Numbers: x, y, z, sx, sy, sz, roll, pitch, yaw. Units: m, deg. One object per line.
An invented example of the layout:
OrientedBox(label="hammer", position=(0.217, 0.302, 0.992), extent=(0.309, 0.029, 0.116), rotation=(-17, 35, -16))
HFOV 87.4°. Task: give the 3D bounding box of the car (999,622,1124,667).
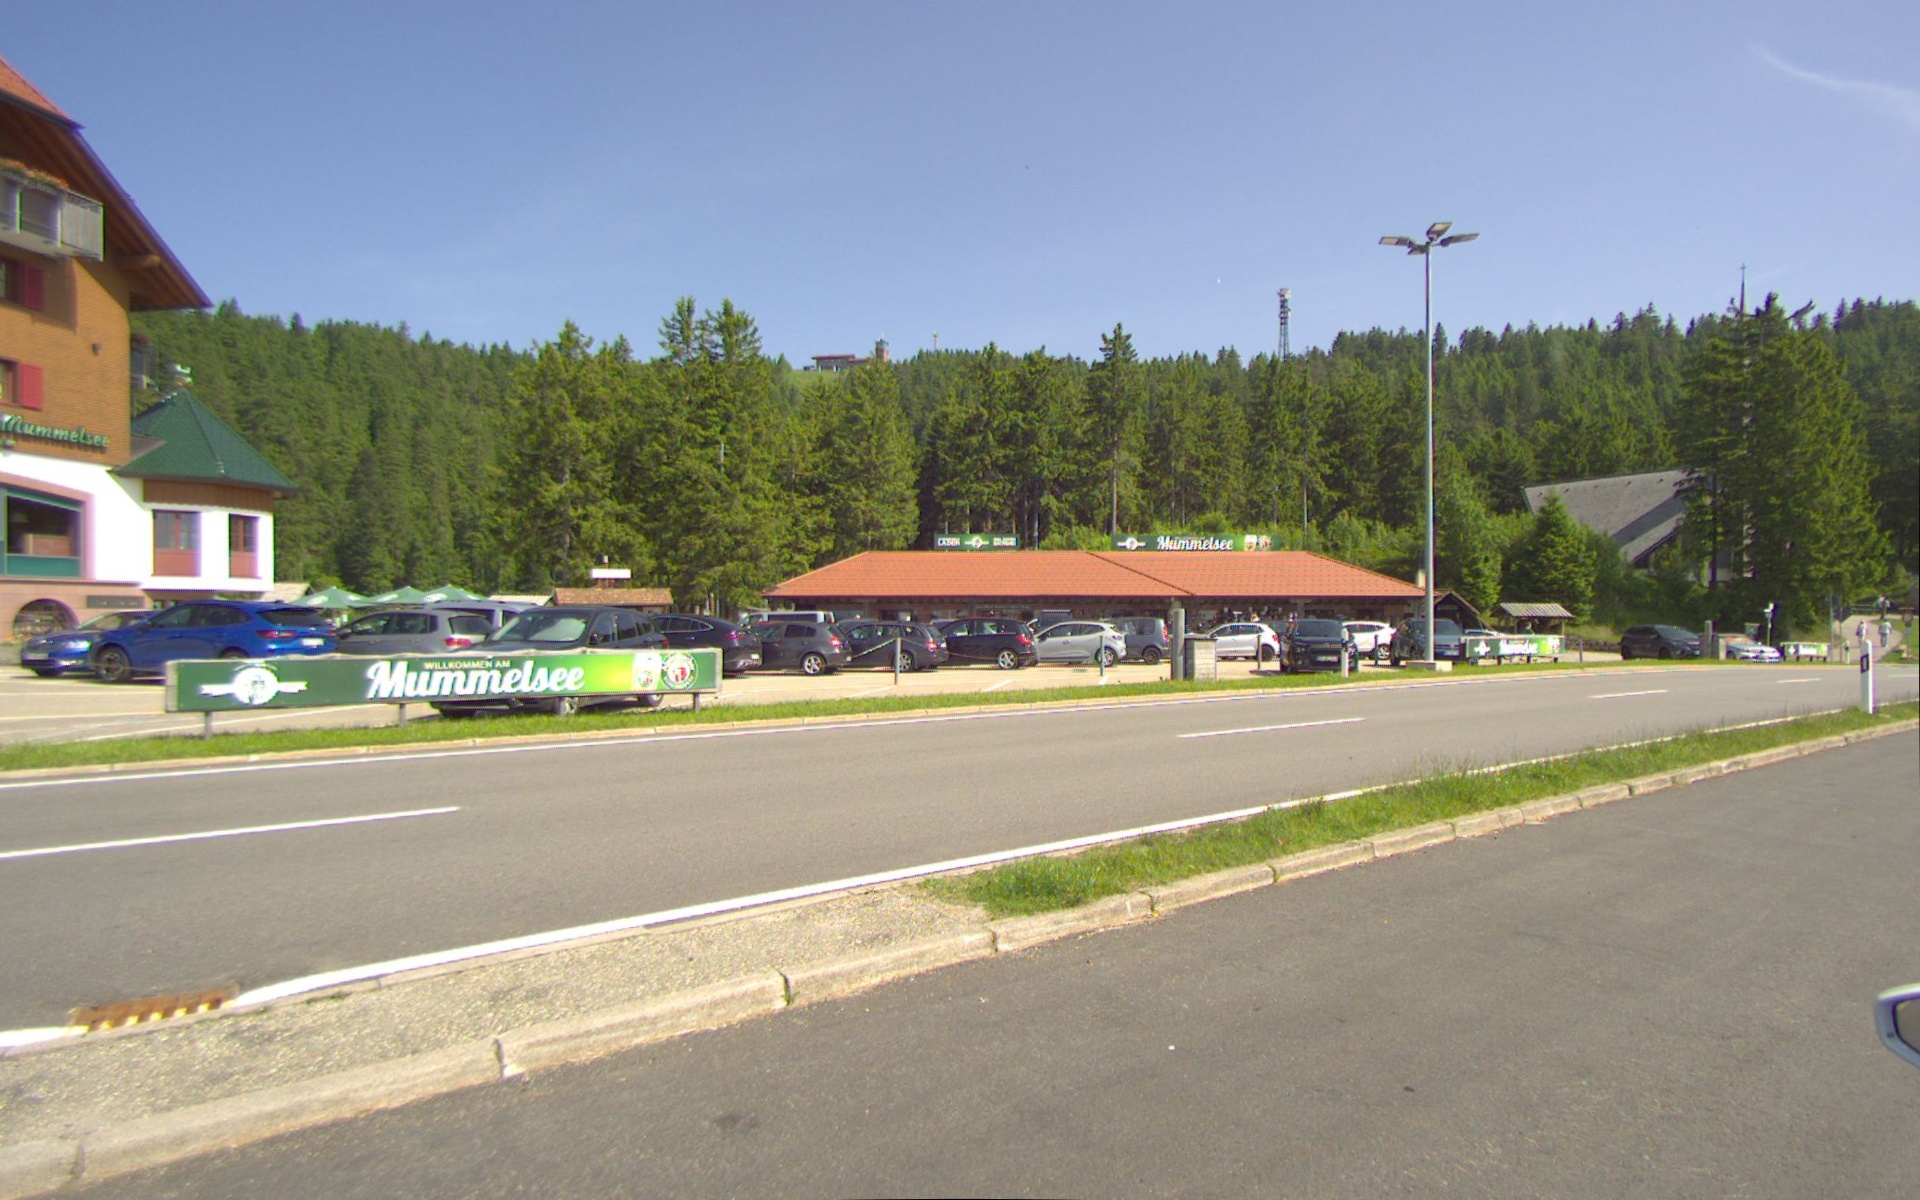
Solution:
OrientedBox(label="car", position=(3.325, 1.439, 32.644), extent=(3.919, 1.389, 1.813), rotation=(-1, -1, 9))

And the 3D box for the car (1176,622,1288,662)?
OrientedBox(label="car", position=(10.295, 1.584, 38.253), extent=(3.919, 1.439, 1.909), rotation=(-1, -1, 9))

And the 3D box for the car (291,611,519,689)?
OrientedBox(label="car", position=(-11.877, 1.046, 21.621), extent=(3.919, 1.566, 2.001), rotation=(-1, -1, 11))

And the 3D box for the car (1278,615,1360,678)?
OrientedBox(label="car", position=(9.610, 1.197, 27.149), extent=(1.747, 1.572, 4.002), rotation=(0, -1, 15))

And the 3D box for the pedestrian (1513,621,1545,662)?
OrientedBox(label="pedestrian", position=(25.421, 1.843, 44.877), extent=(0.951, 1.757, 0.890), rotation=(0, -1, -36))

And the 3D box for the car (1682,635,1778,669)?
OrientedBox(label="car", position=(35.211, 2.368, 46.044), extent=(1.708, 1.460, 3.973), rotation=(-1, -2, 7))

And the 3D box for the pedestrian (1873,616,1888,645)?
OrientedBox(label="pedestrian", position=(59.126, 1.961, 64.540), extent=(0.638, 1.823, 0.646), rotation=(1, -1, -42))

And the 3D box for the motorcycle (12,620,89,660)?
OrientedBox(label="motorcycle", position=(-26.097, 1.142, 28.841), extent=(1.755, 0.999, 0.480), rotation=(3, 5, 1))

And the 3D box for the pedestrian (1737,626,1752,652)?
OrientedBox(label="pedestrian", position=(47.785, 2.347, 61.193), extent=(0.547, 1.553, 0.573), rotation=(0, -1, -36))

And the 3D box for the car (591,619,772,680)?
OrientedBox(label="car", position=(-6.902, 1.213, 25.099), extent=(3.919, 1.449, 1.915), rotation=(-1, -1, 8))

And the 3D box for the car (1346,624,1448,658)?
OrientedBox(label="car", position=(19.987, 1.887, 46.076), extent=(3.944, 1.487, 1.778), rotation=(-1, -2, 8))

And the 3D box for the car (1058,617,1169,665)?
OrientedBox(label="car", position=(5.292, 1.396, 34.667), extent=(3.657, 1.609, 1.736), rotation=(-1, -1, 9))

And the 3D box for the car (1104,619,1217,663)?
OrientedBox(label="car", position=(7.271, 1.481, 36.639), extent=(3.919, 1.565, 1.901), rotation=(-1, -1, 10))

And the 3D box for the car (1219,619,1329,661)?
OrientedBox(label="car", position=(12.511, 1.597, 40.238), extent=(3.919, 1.595, 2.001), rotation=(-1, -1, 9))

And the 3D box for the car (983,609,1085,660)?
OrientedBox(label="car", position=(2.957, 1.345, 39.631), extent=(3.919, 1.929, 2.001), rotation=(-1, -1, 6))

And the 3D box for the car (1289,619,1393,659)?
OrientedBox(label="car", position=(16.712, 1.739, 44.247), extent=(3.949, 1.694, 1.778), rotation=(-1, -2, 8))

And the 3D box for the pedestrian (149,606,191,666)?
OrientedBox(label="pedestrian", position=(-22.350, 1.014, 28.423), extent=(0.613, 1.654, 0.703), rotation=(-1, -1, 17))

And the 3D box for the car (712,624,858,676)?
OrientedBox(label="car", position=(-4.690, 1.335, 27.160), extent=(3.565, 1.339, 1.589), rotation=(-1, -1, 7))

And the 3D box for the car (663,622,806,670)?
OrientedBox(label="car", position=(-6.967, 1.414, 31.224), extent=(3.919, 1.437, 1.936), rotation=(-1, -1, 6))

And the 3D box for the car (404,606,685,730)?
OrientedBox(label="car", position=(-5.903, 0.892, 14.889), extent=(1.771, 1.561, 4.195), rotation=(-1, -1, 12))

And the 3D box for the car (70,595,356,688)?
OrientedBox(label="car", position=(-14.630, 0.781, 19.795), extent=(4.453, 1.686, 1.941), rotation=(0, -1, 9))

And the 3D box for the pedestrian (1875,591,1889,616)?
OrientedBox(label="pedestrian", position=(76.836, 0.323, 83.704), extent=(0.848, 2.040, 0.807), rotation=(0, -1, -44))

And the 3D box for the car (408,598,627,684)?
OrientedBox(label="car", position=(-10.325, 0.949, 23.525), extent=(4.438, 1.888, 1.836), rotation=(-1, -1, 11))

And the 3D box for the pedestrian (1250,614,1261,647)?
OrientedBox(label="pedestrian", position=(17.333, 1.806, 58.903), extent=(0.517, 1.898, 0.547), rotation=(1, 0, 7))

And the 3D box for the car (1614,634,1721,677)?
OrientedBox(label="car", position=(29.852, 2.305, 42.562), extent=(1.753, 1.655, 4.213), rotation=(2, -1, 4))

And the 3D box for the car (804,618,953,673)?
OrientedBox(label="car", position=(-2.332, 1.307, 29.079), extent=(3.996, 1.506, 1.717), rotation=(-1, -1, 9))

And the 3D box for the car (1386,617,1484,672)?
OrientedBox(label="car", position=(14.715, 1.330, 31.328), extent=(1.705, 1.588, 4.062), rotation=(1, -1, 10))

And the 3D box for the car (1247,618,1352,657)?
OrientedBox(label="car", position=(14.262, 1.567, 42.407), extent=(3.919, 1.595, 2.001), rotation=(-1, -1, 9))

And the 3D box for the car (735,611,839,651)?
OrientedBox(label="car", position=(-7.049, 1.259, 41.218), extent=(3.802, 1.550, 1.911), rotation=(-1, -1, 7))

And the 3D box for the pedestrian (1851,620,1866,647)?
OrientedBox(label="pedestrian", position=(58.193, 2.171, 65.070), extent=(0.638, 1.688, 0.646), rotation=(4, -3, -42))

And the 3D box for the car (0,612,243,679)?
OrientedBox(label="car", position=(-18.099, 0.941, 21.876), extent=(1.679, 1.314, 4.003), rotation=(-1, -1, 11))

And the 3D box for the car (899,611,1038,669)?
OrientedBox(label="car", position=(0.284, 1.215, 30.855), extent=(3.919, 1.726, 1.827), rotation=(-1, -1, 14))
